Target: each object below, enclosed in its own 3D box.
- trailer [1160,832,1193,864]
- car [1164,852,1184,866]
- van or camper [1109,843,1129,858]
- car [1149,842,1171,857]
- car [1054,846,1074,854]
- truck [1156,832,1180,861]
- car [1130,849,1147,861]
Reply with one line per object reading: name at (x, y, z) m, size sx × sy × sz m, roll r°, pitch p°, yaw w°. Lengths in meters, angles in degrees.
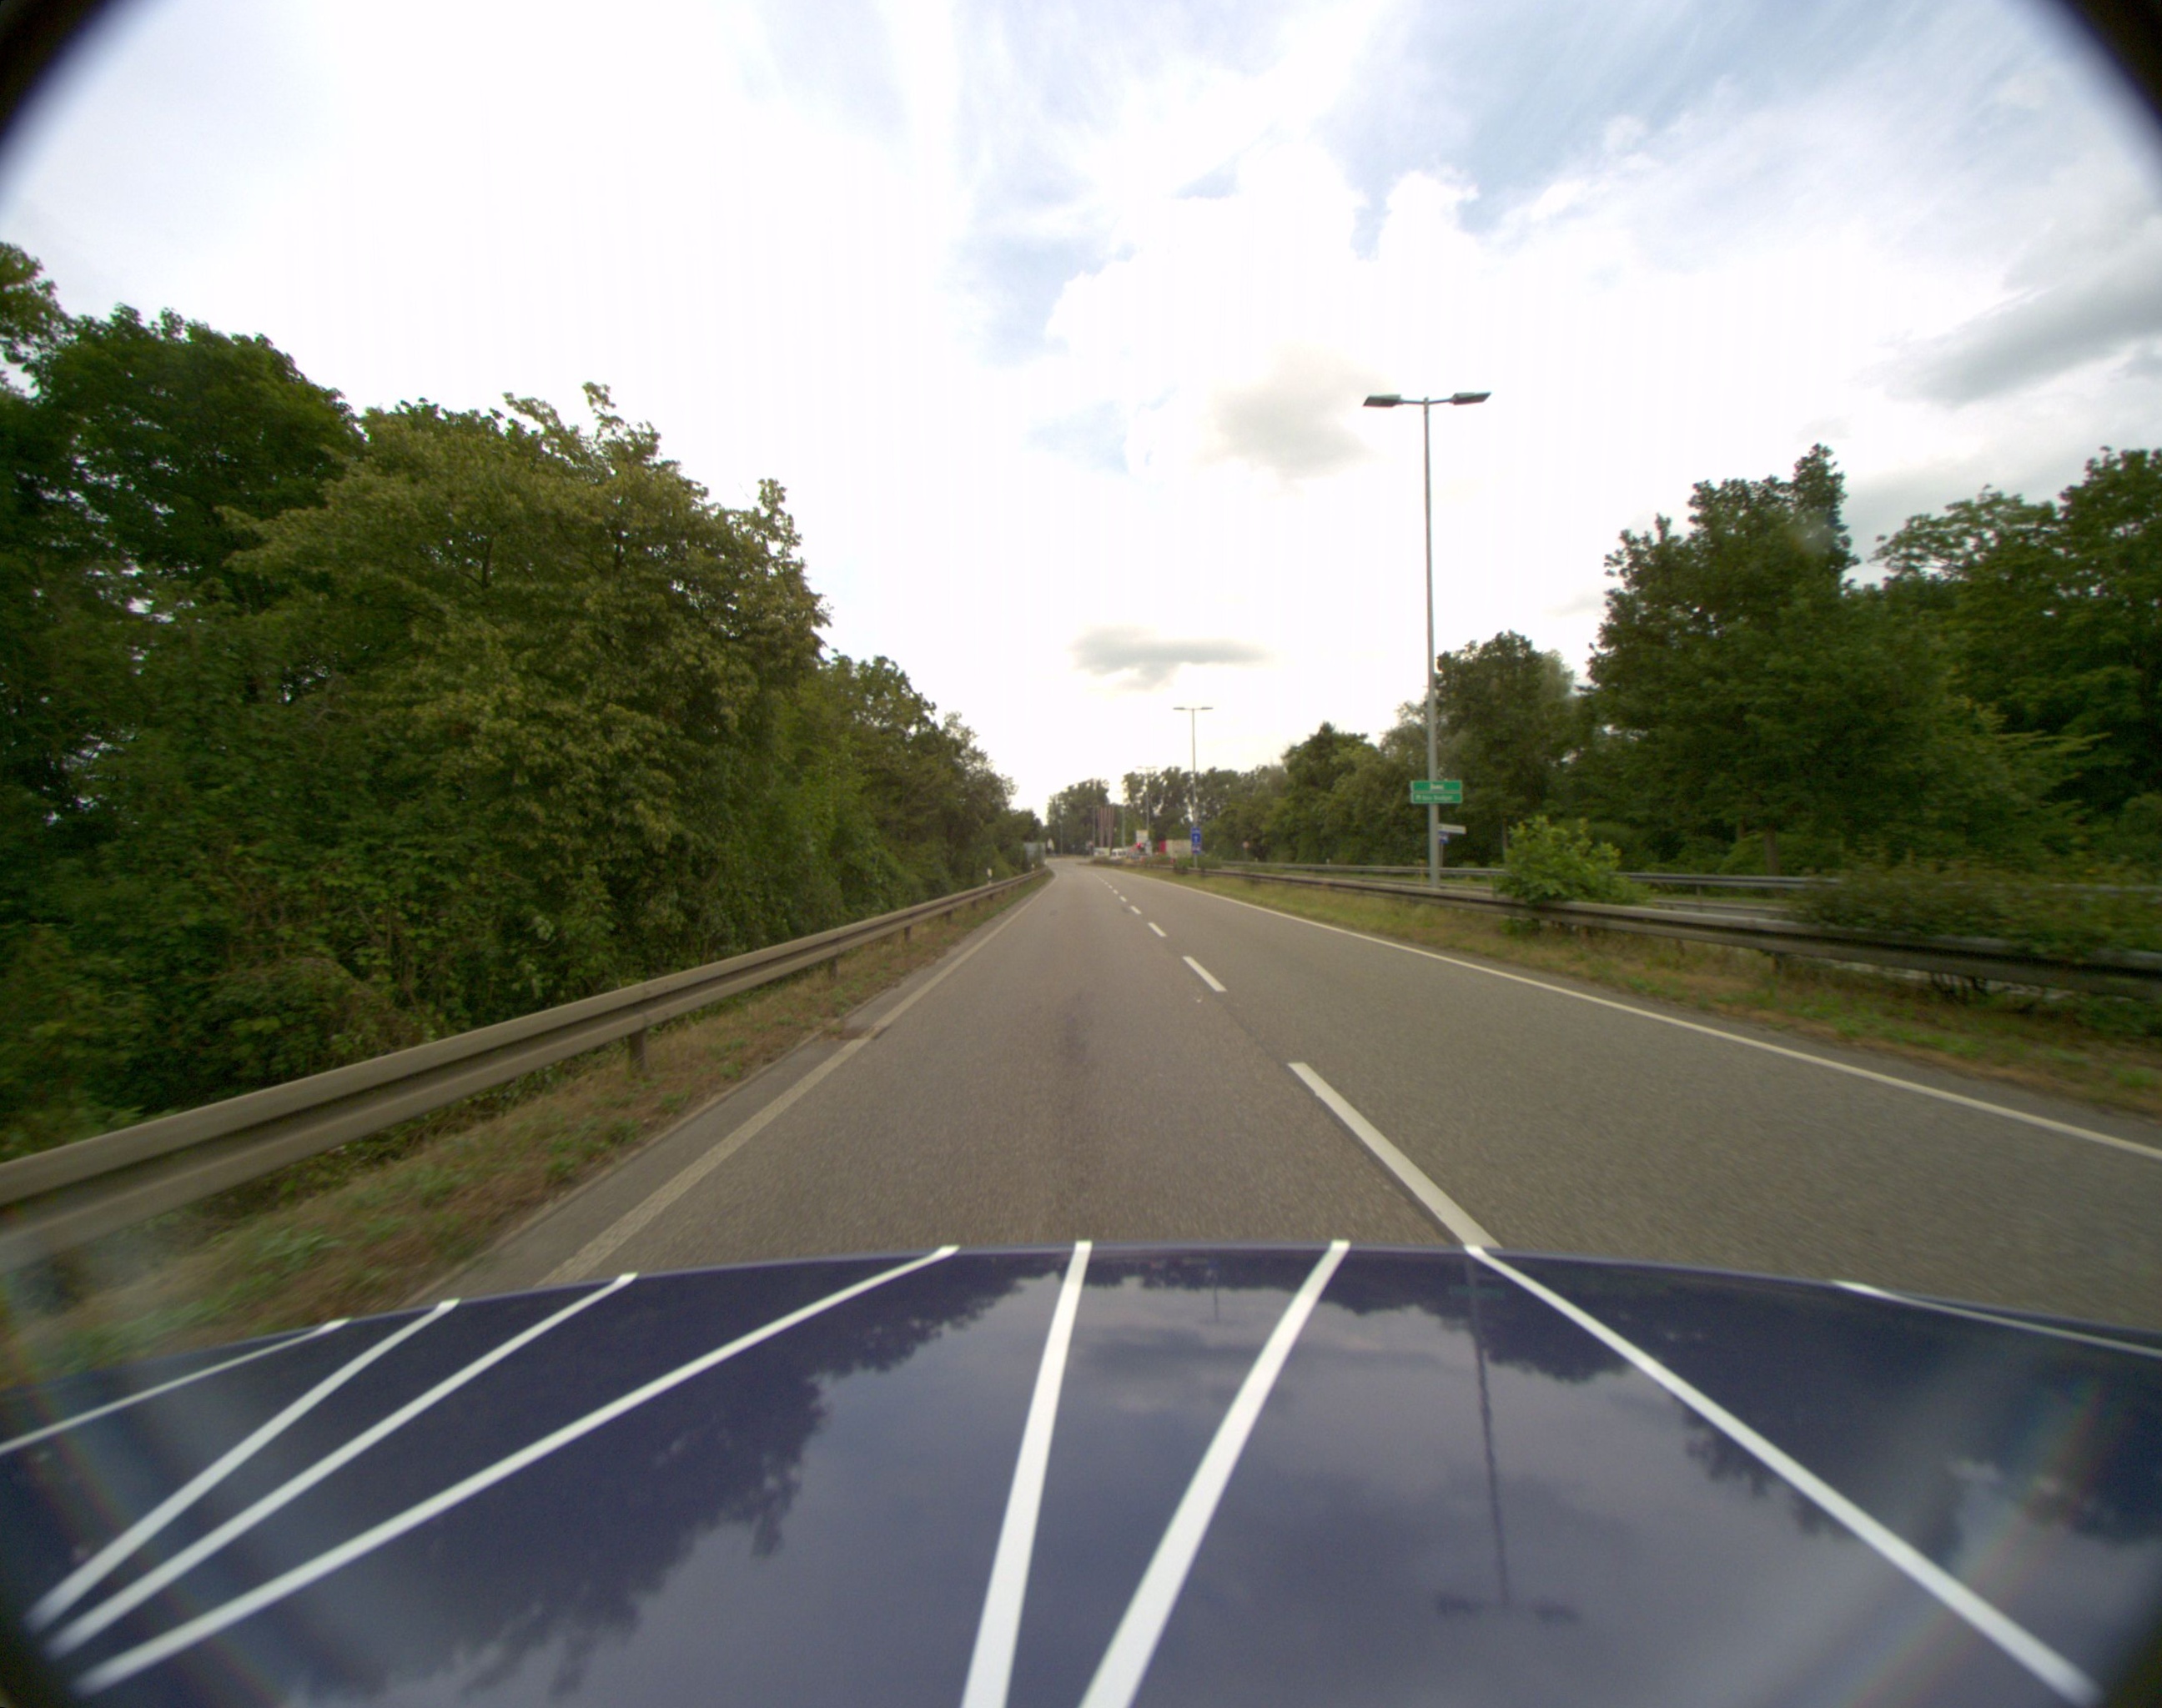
trailer at (13.001, -0.882, 104.724) m, size 2.542 × 4.124 × 10.765 m, roll -2°, pitch 1°, yaw -3°
car at (10.794, 0.523, 88.361) m, size 1.772 × 1.498 × 3.938 m, roll -1°, pitch 1°, yaw -2°
van or camper at (6.727, -0.676, 136.165) m, size 2.167 × 2.574 × 6.488 m, roll -2°, pitch 1°, yaw -10°
car at (10.256, -0.634, 98.832) m, size 2.015 × 1.853 × 5.275 m, roll -2°, pitch 1°, yaw -3°
car at (-3.910, -0.959, 178.553) m, size 4.246 × 1.773 × 1.931 m, roll -1°, pitch 2°, yaw 30°
truck at (12.661, -1.079, 110.793) m, size 2.575 × 4.060 × 5.620 m, roll -2°, pitch 1°, yaw -3°
car at (9.138, 0.177, 120.744) m, size 1.809 × 1.719 × 4.957 m, roll -2°, pitch 1°, yaw -6°
